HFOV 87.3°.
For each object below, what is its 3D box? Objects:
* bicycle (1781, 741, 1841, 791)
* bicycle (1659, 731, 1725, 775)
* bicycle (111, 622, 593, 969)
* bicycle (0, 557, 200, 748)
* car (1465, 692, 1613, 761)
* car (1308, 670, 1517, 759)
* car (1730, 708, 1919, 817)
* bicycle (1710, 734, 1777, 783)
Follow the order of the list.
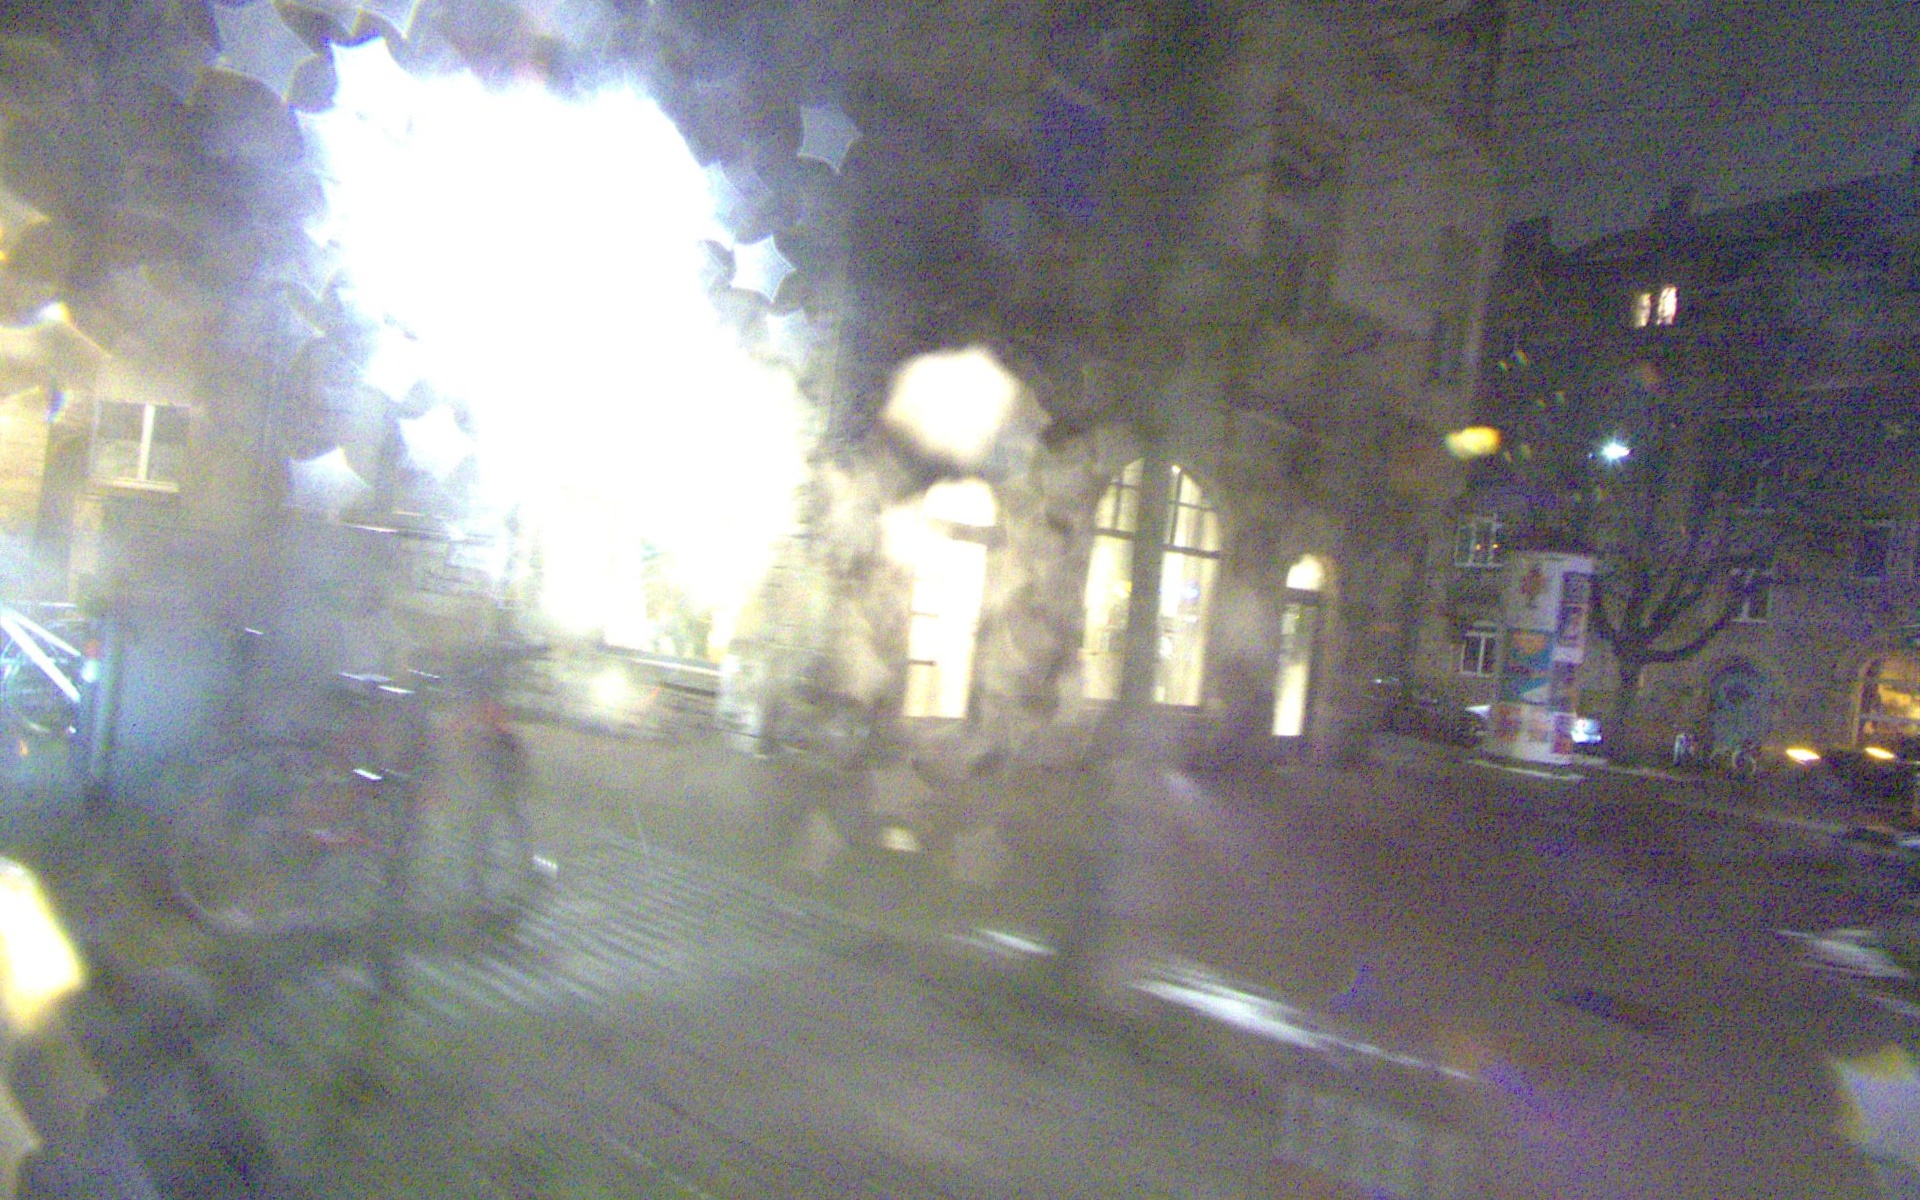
[{"bbox_3d":[21.169,4.143,25.017,1.963,1.129,0.504,7,-2,-32],"label":"bicycle"},{"bbox_3d":[19.731,4.127,27.118,1.963,1.022,0.697,7,-2,-32],"label":"bicycle"},{"bbox_3d":[-2.309,0.685,4.096,0.442,1.072,1.664,7,-1,21],"label":"bicycle"},{"bbox_3d":[-5.617,0.302,5.999,0.442,1.072,1.664,7,-1,21],"label":"bicycle"},{"bbox_3d":[17.266,3.761,30.108,1.595,1.475,3.385,8,-1,-33],"label":"car"},{"bbox_3d":[11.277,2.841,25.334,1.758,1.520,4.374,8,-1,-39],"label":"car"},{"bbox_3d":[19.488,3.553,21.306,1.909,1.638,4.532,8,0,-34],"label":"car"},{"bbox_3d":[20.355,4.121,26.122,1.963,1.129,0.697,7,-2,-32],"label":"bicycle"}]
